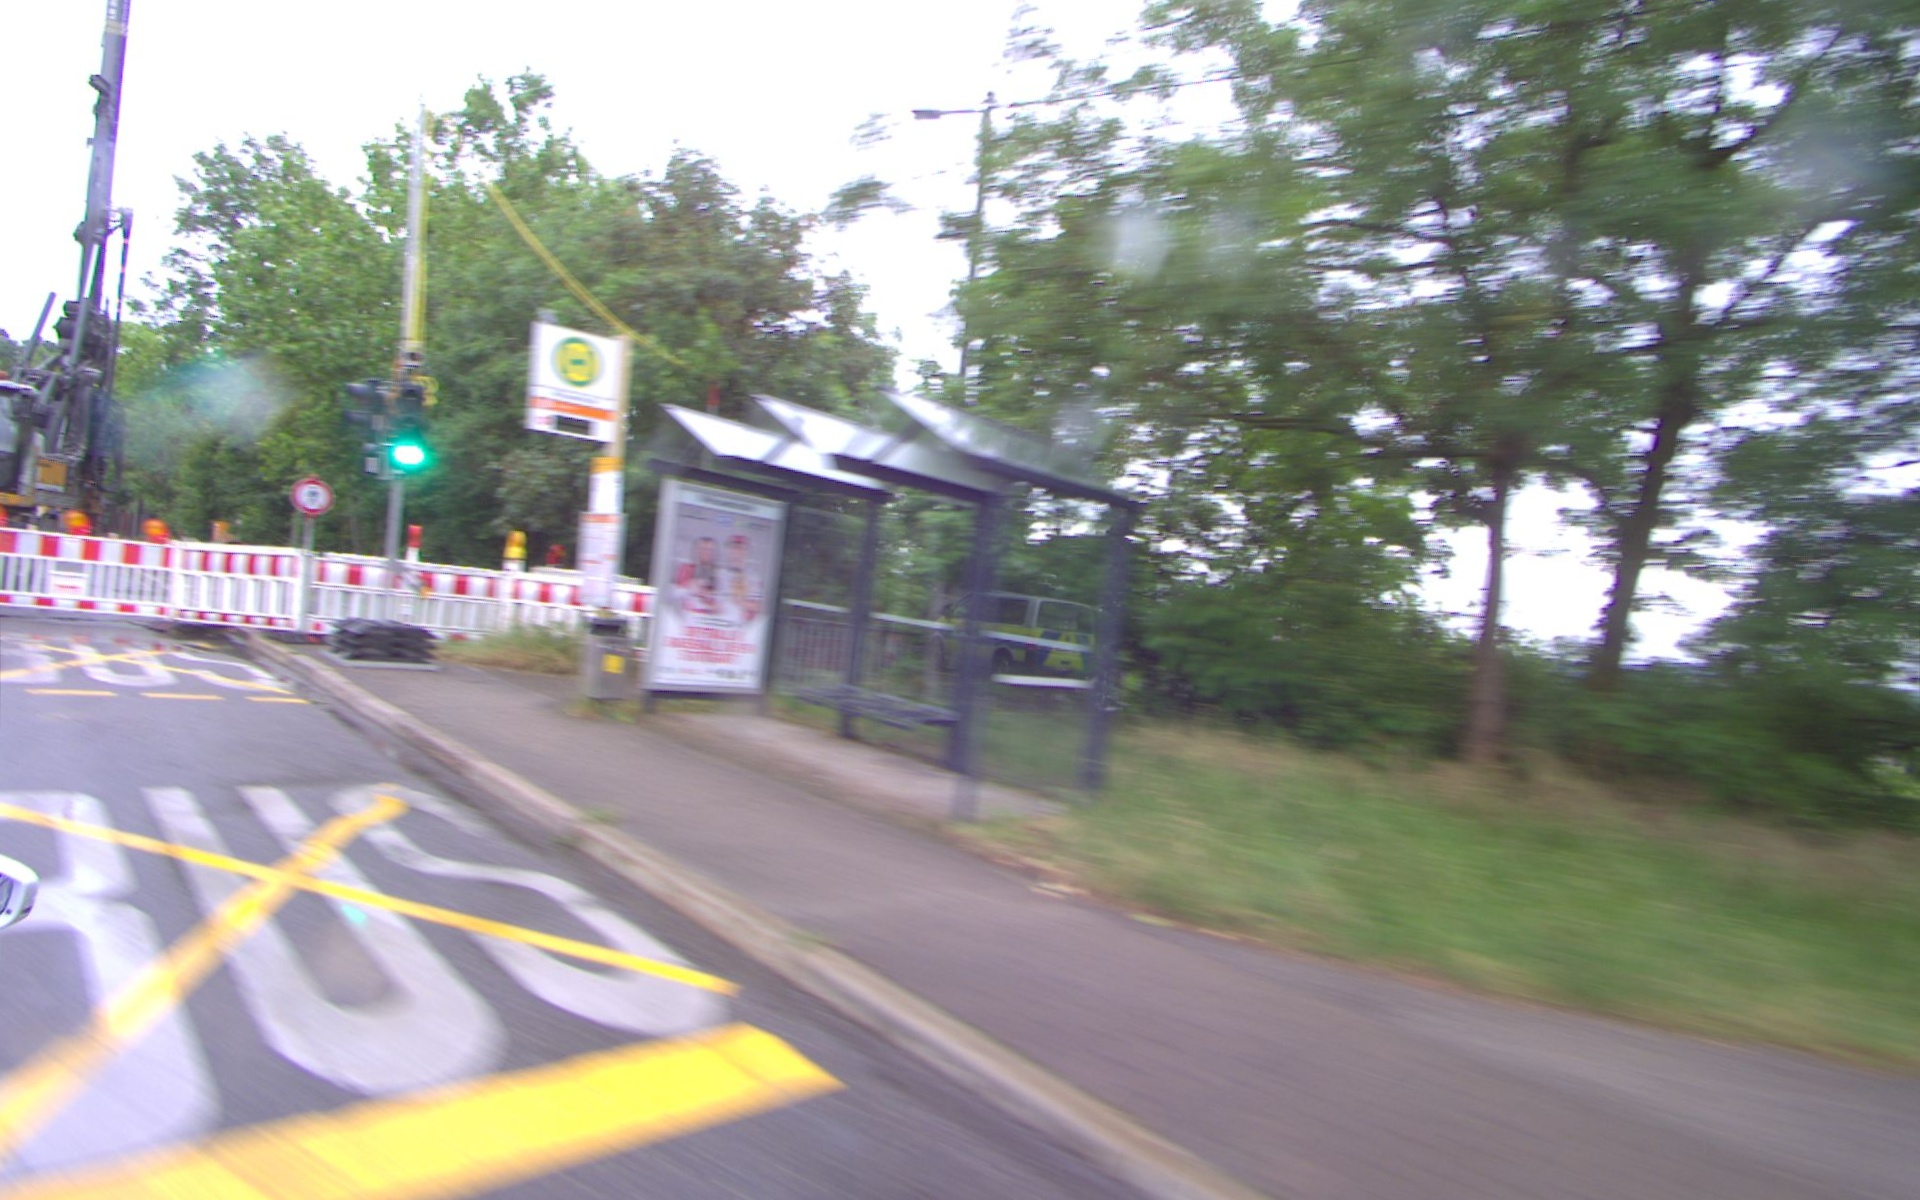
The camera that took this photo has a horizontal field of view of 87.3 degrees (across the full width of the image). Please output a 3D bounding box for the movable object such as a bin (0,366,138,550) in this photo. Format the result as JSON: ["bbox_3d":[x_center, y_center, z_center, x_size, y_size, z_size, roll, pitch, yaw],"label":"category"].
[{"bbox_3d":[-30.914,-4.528,32.697,3.638,5.128,7.140,6,-1,-17],"label":"movable object such as a bin"}]

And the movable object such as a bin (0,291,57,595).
[{"bbox_3d":[-15.754,-2.470,15.160,2.868,4.223,4.434,6,1,-42],"label":"movable object such as a bin"}]
